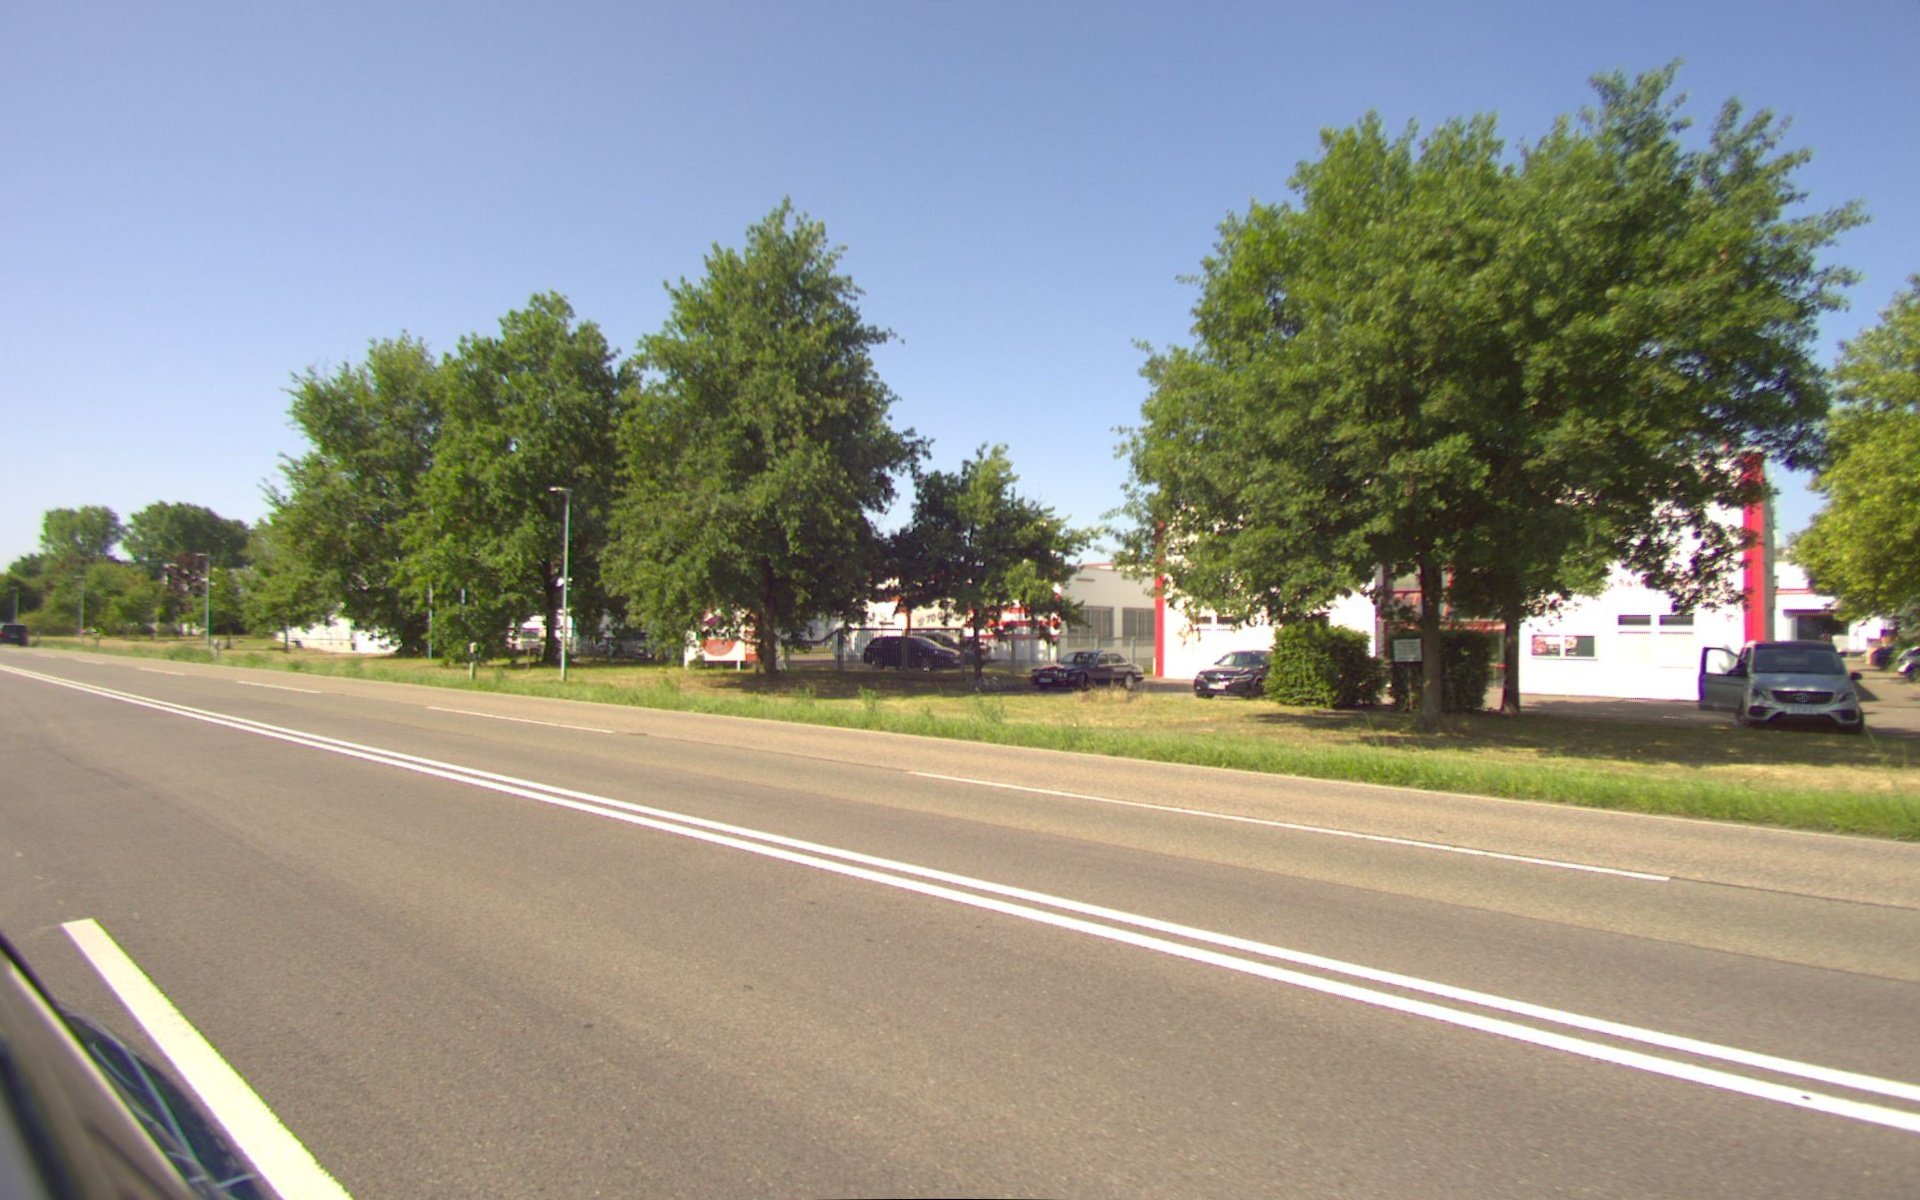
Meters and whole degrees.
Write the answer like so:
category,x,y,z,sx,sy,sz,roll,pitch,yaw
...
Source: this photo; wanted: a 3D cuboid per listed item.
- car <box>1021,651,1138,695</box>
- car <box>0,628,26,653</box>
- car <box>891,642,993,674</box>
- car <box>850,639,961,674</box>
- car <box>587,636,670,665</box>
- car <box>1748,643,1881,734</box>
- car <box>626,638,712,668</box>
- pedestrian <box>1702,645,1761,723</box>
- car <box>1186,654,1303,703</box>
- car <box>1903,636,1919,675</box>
category,x,y,z,sx,sy,sz,roll,pitch,yaw
car,4.125,2.501,34.431,1.856,1.335,4.305,0,-5,40
car,-67.925,2.875,71.797,4.386,1.684,1.807,-2,-4,40
car,-0.851,2.635,46.516,4.657,1.360,1.769,-1,-3,39
car,-2.338,2.351,42.647,4.657,1.360,1.769,-1,-3,39
car,-18.048,2.707,55.175,1.756,1.512,3.946,-2,-3,40
car,18.469,1.861,21.928,1.999,1.744,4.179,-1,-4,40
car,-15.029,2.721,52.408,1.756,1.512,3.946,-2,-3,40
pedestrian,17.599,1.901,23.090,0.627,1.726,0.821,0,-2,-10
car,8.558,2.325,30.296,1.862,1.316,3.944,-2,-4,41
car,44.454,2.474,44.503,1.966,1.674,4.011,-1,0,-32
